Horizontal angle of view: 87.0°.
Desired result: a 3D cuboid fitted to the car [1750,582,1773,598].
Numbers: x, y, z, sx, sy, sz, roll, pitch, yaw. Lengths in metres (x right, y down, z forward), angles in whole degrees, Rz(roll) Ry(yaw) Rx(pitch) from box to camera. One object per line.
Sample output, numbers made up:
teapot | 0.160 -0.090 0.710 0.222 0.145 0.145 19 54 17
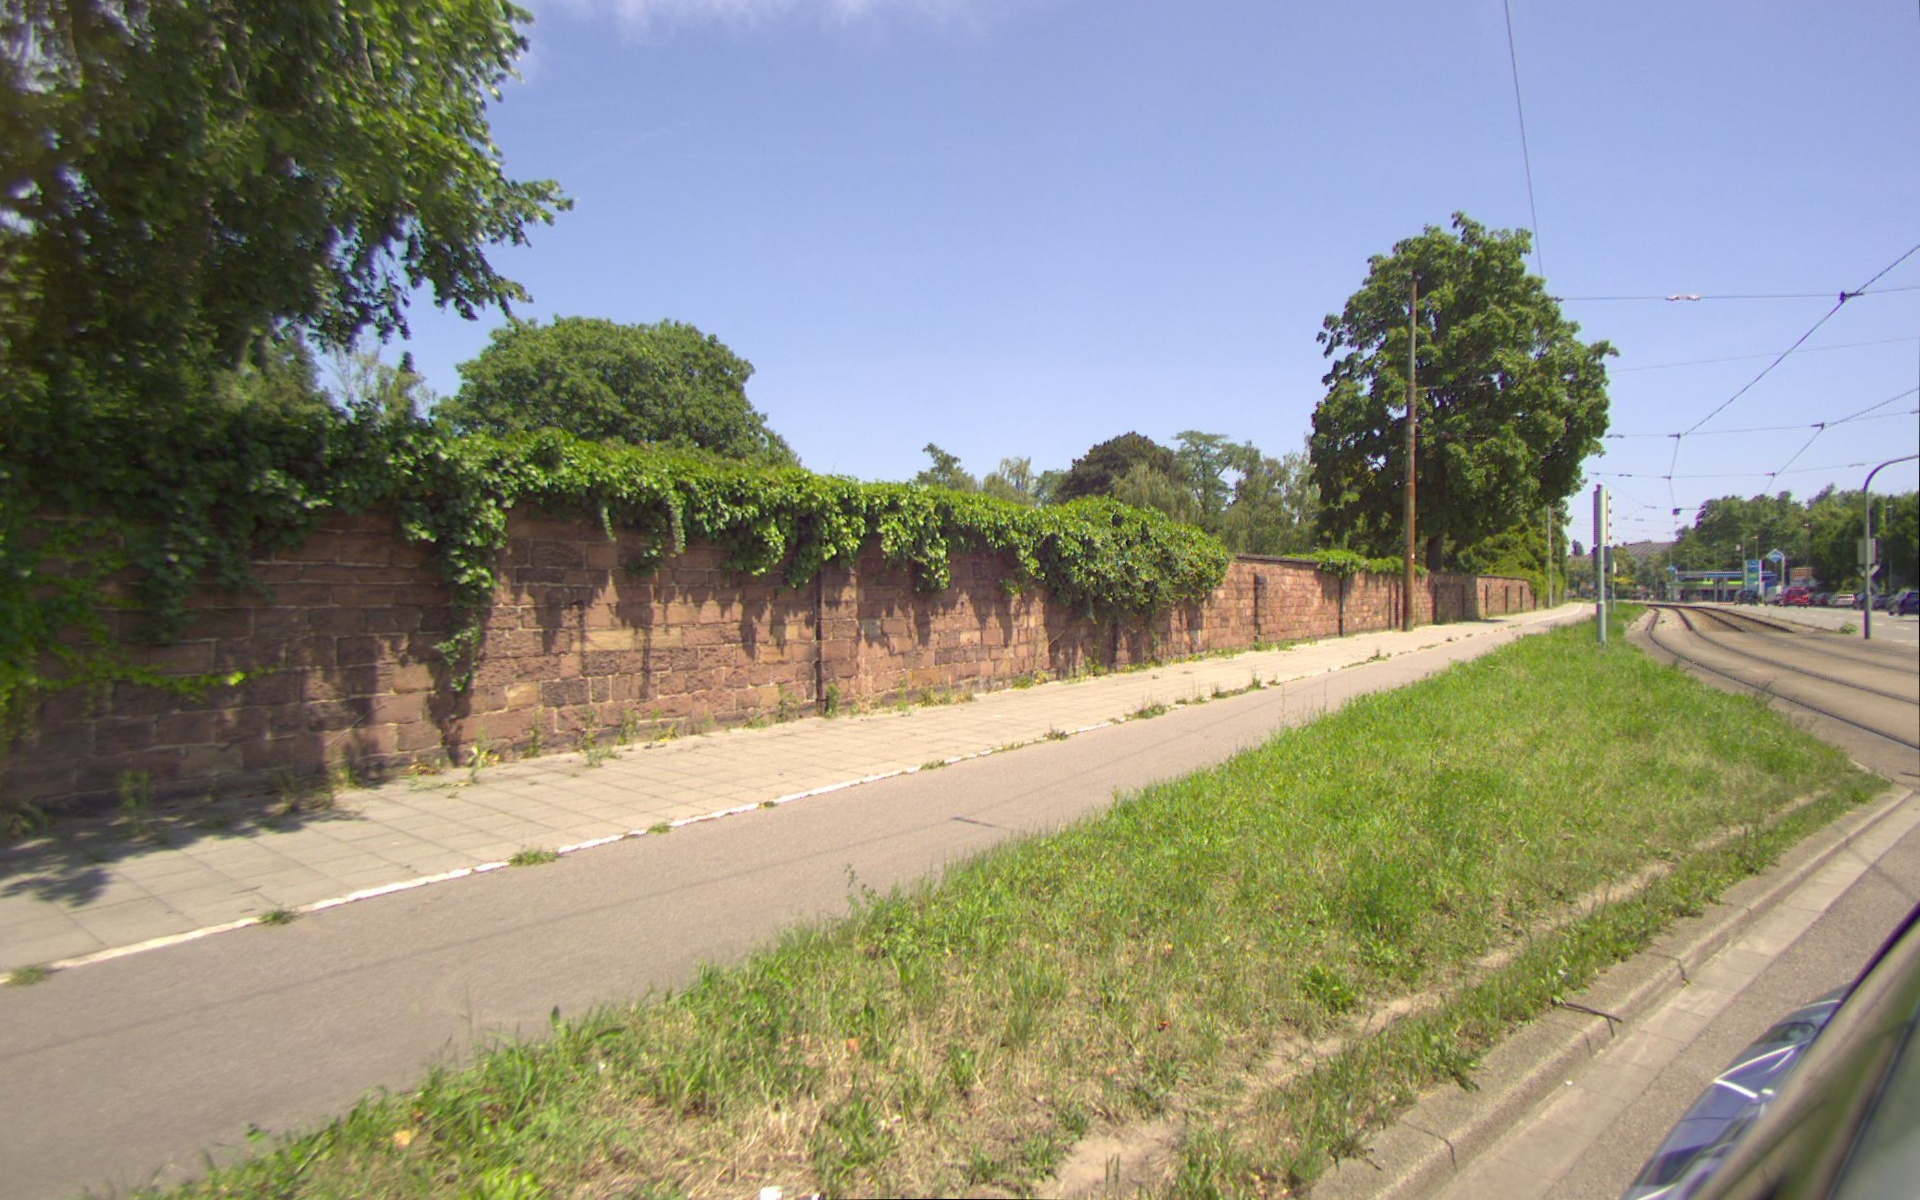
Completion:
car | 101.094 -1.272 127.686 1.912 1.934 4.514 1 1 35

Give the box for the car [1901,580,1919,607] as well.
car | 61.140 -0.443 64.088 1.732 1.677 4.015 1 1 35

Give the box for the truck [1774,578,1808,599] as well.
truck | 108.411 -1.480 132.094 2.114 2.614 4.819 -4 -2 26

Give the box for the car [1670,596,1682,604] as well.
car | 144.337 -0.077 203.958 1.853 1.515 3.429 -4 -2 34

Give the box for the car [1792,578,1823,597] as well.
car | 88.169 -1.313 105.328 1.892 1.950 4.762 0 1 34
